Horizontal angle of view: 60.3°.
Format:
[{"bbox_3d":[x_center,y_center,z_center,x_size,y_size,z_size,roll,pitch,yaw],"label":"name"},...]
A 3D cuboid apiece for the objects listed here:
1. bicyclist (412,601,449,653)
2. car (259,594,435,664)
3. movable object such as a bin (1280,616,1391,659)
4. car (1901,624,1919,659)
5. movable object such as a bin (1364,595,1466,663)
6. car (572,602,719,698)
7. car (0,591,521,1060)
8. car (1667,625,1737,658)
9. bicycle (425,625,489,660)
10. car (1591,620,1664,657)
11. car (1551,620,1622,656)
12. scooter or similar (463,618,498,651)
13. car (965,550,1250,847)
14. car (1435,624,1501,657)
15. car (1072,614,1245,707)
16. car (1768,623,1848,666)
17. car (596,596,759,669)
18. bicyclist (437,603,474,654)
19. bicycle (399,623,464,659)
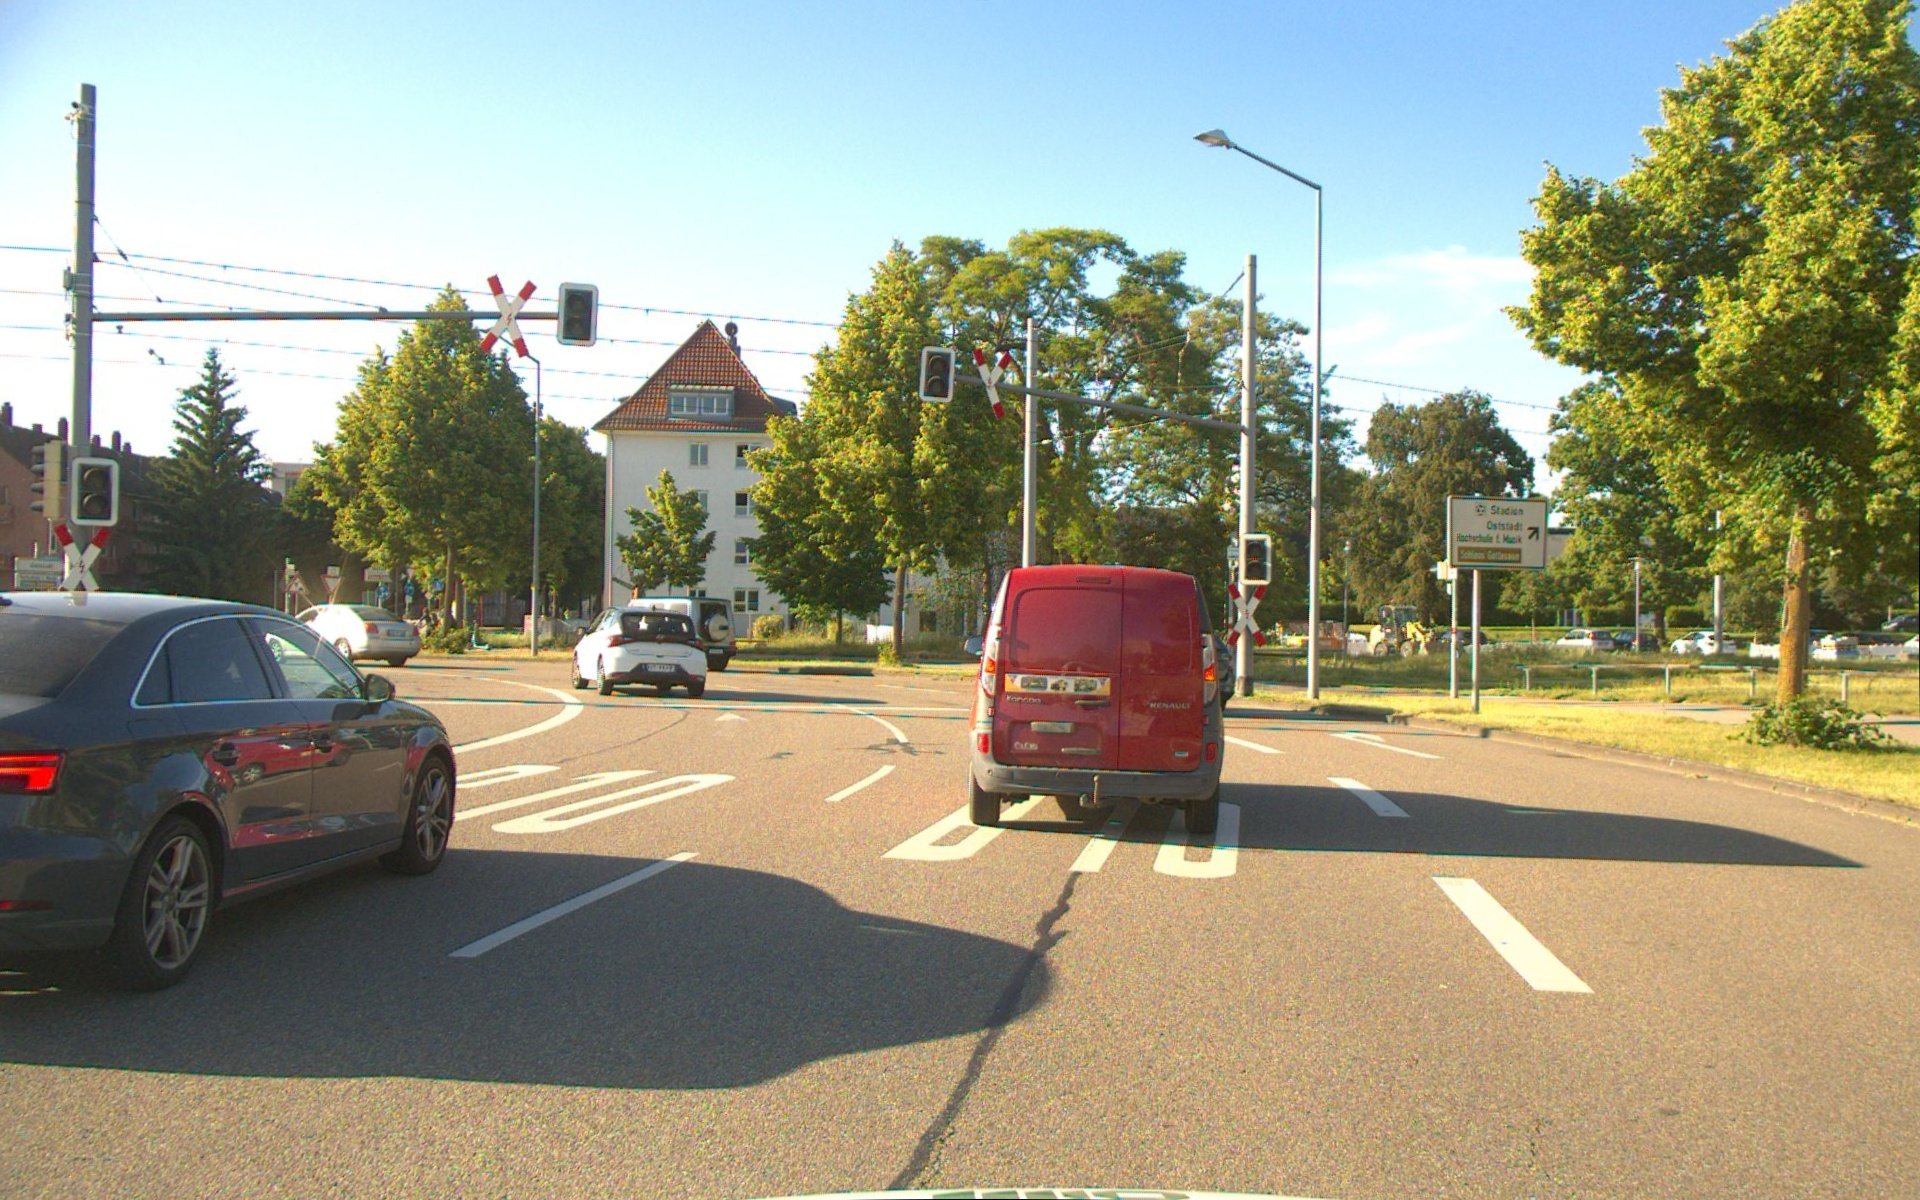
[{"bbox_3d":[-19.885,1.021,62.132,1.001,1.885,0.813,1,-3,12],"label":"bicyclist"},{"bbox_3d":[-15.176,0.682,40.888,4.319,1.602,1.993,1,0,36],"label":"car"},{"bbox_3d":[18.595,1.879,82.038,4.919,1.982,2.232,2,-3,-13],"label":"movable object such as a bin"},{"bbox_3d":[51.829,2.207,87.622,1.655,1.811,3.845,2,-3,-2],"label":"car"},{"bbox_3d":[19.851,1.323,72.379,1.961,2.838,5.025,2,-3,-16],"label":"movable object such as a bin"},{"bbox_3d":[-5.479,0.845,28.502,1.777,1.487,3.784,3,-2,-21],"label":"car"},{"bbox_3d":[-3.530,0.671,7.217,1.723,1.404,4.361,1,0,5],"label":"car"},{"bbox_3d":[38.798,2.196,86.511,1.791,1.583,3.803,2,-3,-3],"label":"car"},{"bbox_3d":[-19.187,1.620,63.106,2.155,1.288,0.819,1,-3,12],"label":"bicycle"},{"bbox_3d":[34.679,2.031,86.037,1.955,1.800,3.995,2,-3,-5],"label":"car"},{"bbox_3d":[32.625,2.010,86.250,1.955,1.754,3.995,2,-3,-5],"label":"car"},{"bbox_3d":[-18.526,1.328,63.856,1.234,1.270,0.445,-1,-3,18],"label":"scooter or similar"},{"bbox_3d":[1.045,0.626,12.574,1.765,1.845,3.811,2,0,3],"label":"car"},{"bbox_3d":[26.055,2.082,84.944,1.882,1.584,3.945,2,-3,-5],"label":"car"},{"bbox_3d":[3.285,1.020,28.138,1.684,1.461,4.138,1,-2,-12],"label":"car"},{"bbox_3d":[44.363,2.341,86.615,1.955,2.137,3.995,2,-3,-5],"label":"car"},{"bbox_3d":[-7.847,0.904,45.713,4.667,1.930,1.991,-1,-2,42],"label":"car"},{"bbox_3d":[-19.259,1.083,63.159,1.001,1.885,0.813,1,-3,12],"label":"bicyclist"},{"bbox_3d":[-19.851,1.558,62.110,2.155,1.288,0.819,1,-3,12],"label":"bicycle"}]
